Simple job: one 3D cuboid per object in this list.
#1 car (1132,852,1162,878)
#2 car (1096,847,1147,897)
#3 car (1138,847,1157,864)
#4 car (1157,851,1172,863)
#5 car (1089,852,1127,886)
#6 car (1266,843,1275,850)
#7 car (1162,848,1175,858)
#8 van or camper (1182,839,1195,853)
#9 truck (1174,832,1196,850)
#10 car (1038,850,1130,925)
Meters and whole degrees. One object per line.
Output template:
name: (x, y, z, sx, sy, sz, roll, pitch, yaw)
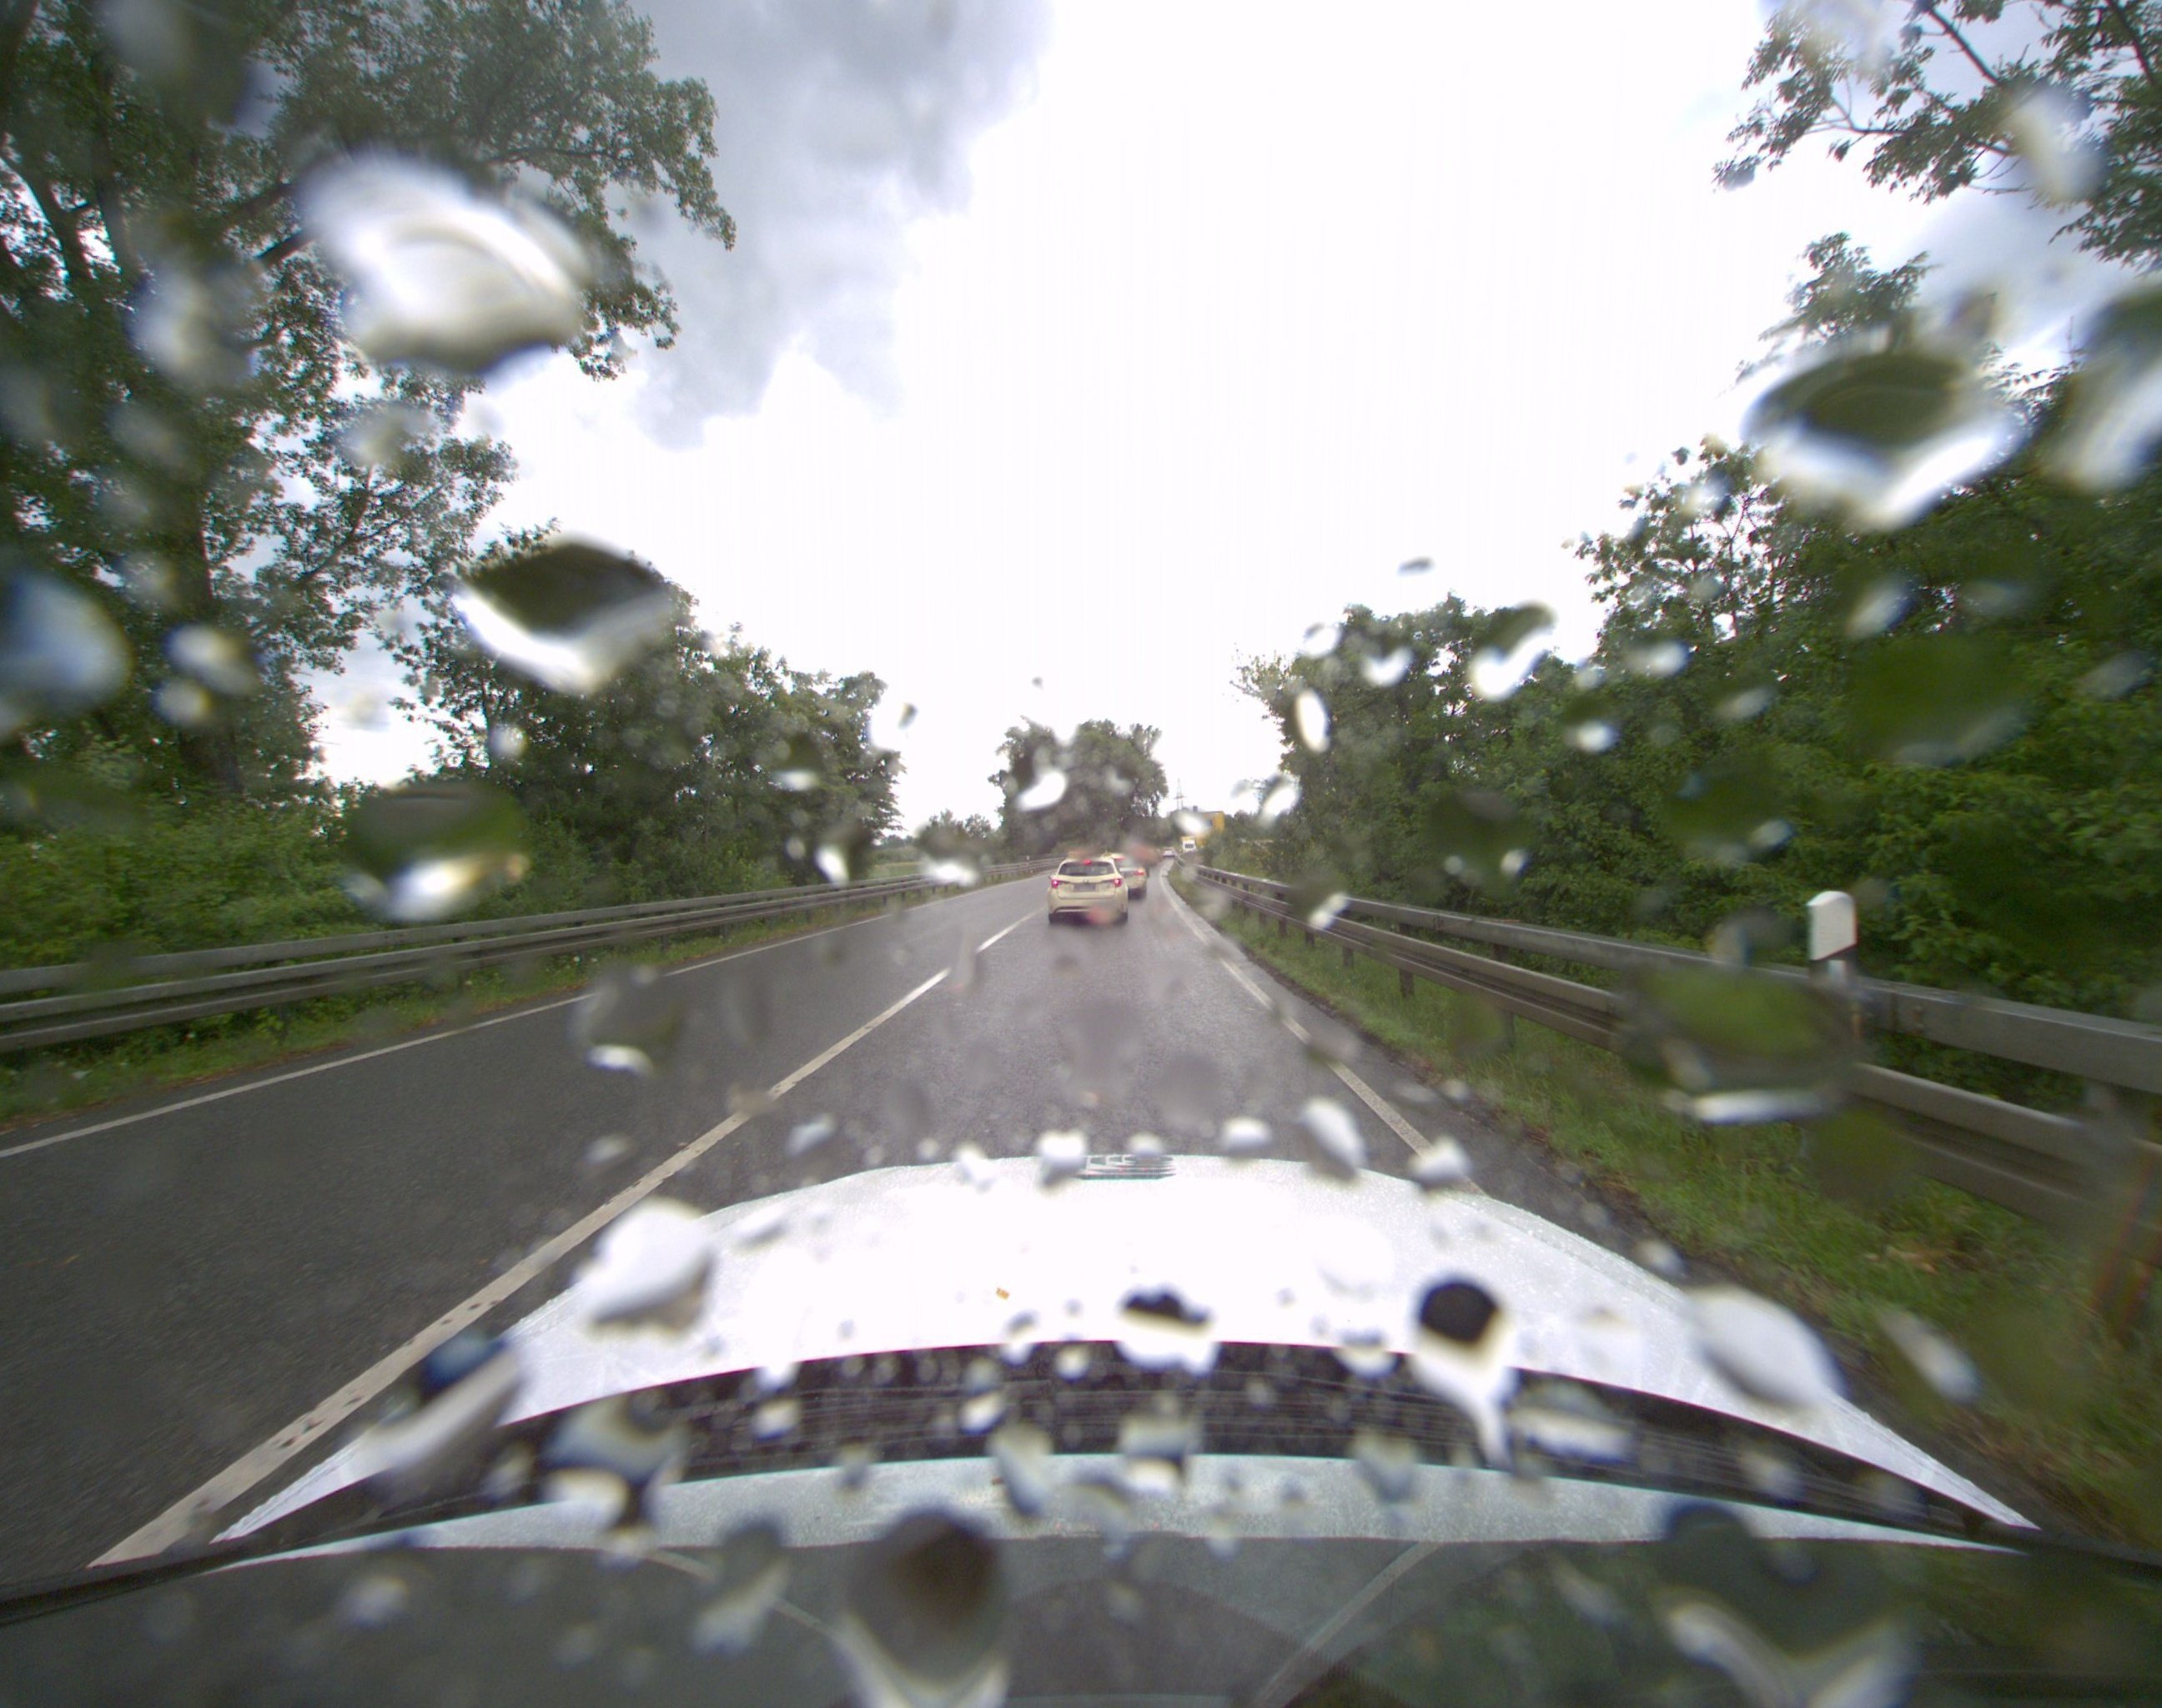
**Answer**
car: (3.899, 0.604, 48.593, 1.658, 1.464, 3.479, -1, 0, 2)
car: (1.433, 0.571, 27.803, 1.571, 1.572, 3.686, -1, 0, 5)
car: (5.975, 0.162, 73.063, 1.652, 1.409, 3.910, -1, -1, 5)
car: (9.425, 0.362, 91.749, 1.474, 1.309, 3.484, -1, 0, 7)
car: (1.270, 0.652, 37.176, 1.498, 1.437, 3.360, -1, 0, 5)
car: (50.531, -1.912, 217.295, 1.802, 1.838, 4.011, -1, 0, 23)
car: (11.691, -0.156, 108.523, 1.473, 1.309, 3.486, -1, 0, 9)
van or camper: (18.248, -1.268, 137.721, 1.981, 2.254, 4.011, -1, 0, 10)
truck: (20.993, -2.624, 163.713, 2.748, 3.428, 9.232, 1, 2, 18)
car: (0.185, 0.698, 19.219, 1.898, 1.537, 4.165, -1, 0, 3)
